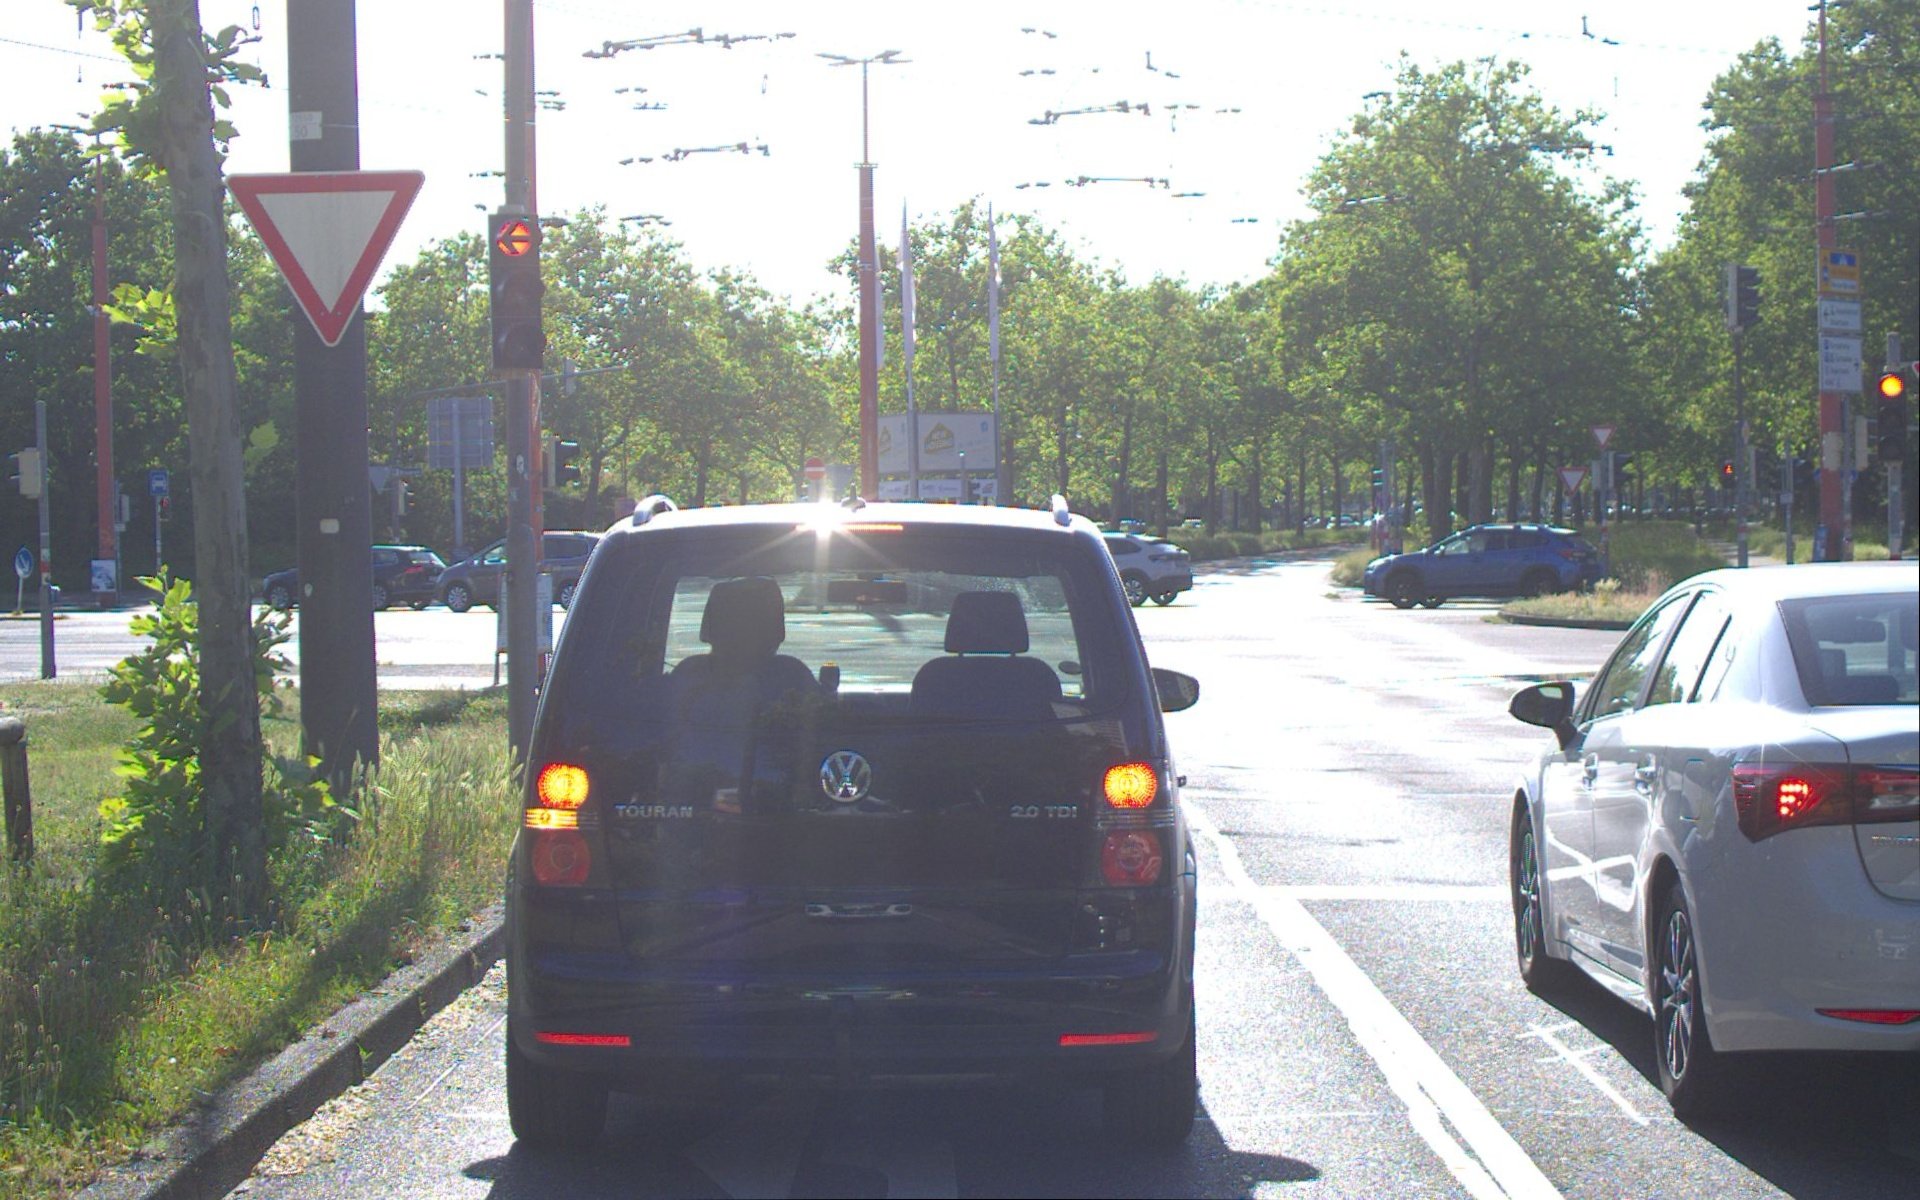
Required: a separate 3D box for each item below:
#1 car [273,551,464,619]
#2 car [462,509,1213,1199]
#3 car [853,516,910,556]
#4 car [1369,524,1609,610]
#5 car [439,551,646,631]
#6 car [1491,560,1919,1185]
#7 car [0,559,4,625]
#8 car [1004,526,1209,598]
[{"bbox_3d":[-13.909,-0.357,80.866,4.127,1.505,1.820,1,1,26],"label":"car"},{"bbox_3d":[-0.311,0.576,9.823,1.700,1.616,3.897,1,1,-1],"label":"car"},{"bbox_3d":[-3.380,-2.760,148.622,1.915,1.630,3.999,1,1,7],"label":"car"},{"bbox_3d":[10.052,-0.636,65.349,4.125,1.592,1.826,0,1,27],"label":"car"},{"bbox_3d":[-9.083,-0.211,74.760,4.185,1.638,1.757,1,1,27],"label":"car"},{"bbox_3d":[2.720,0.619,10.115,1.720,1.433,4.198,1,1,1],"label":"car"},{"bbox_3d":[-26.251,-0.242,87.211,3.647,1.650,1.678,1,1,25],"label":"car"},{"bbox_3d":[3.085,-0.804,72.484,3.969,1.436,1.684,1,1,27],"label":"car"}]
